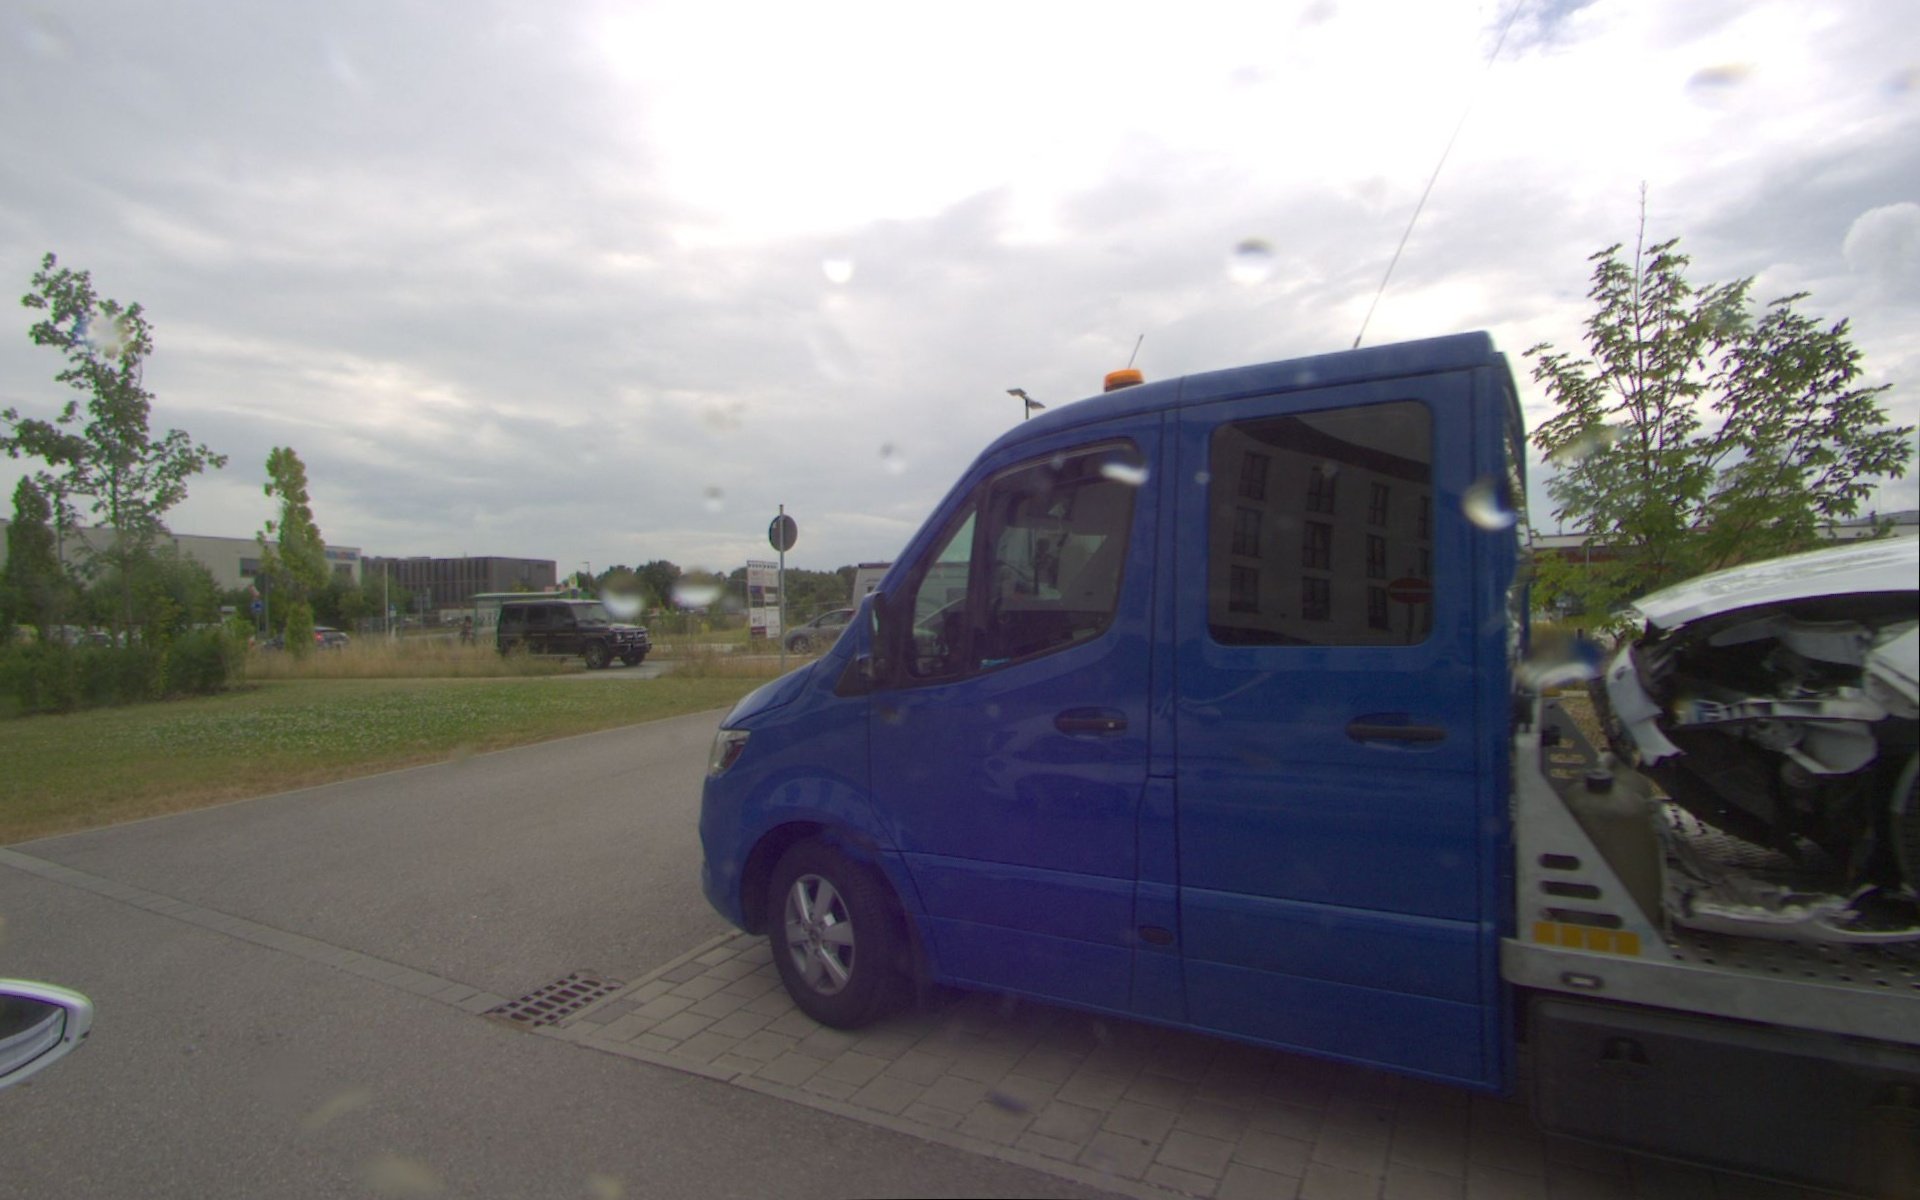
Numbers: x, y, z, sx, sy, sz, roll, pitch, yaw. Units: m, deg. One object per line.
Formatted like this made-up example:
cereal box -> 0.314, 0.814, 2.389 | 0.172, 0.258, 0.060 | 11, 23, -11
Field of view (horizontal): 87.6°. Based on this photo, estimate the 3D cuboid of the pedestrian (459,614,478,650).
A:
pedestrian -> -23.563, 1.531, 48.018 | 0.734, 1.744, 0.646 | 0, 0, -36

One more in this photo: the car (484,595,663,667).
car -> -11.213, 0.848, 29.085 | 4.764, 1.949, 1.995 | 0, 0, 21

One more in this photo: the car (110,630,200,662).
car -> -36.825, 2.066, 45.792 | 3.900, 1.360, 1.712 | 0, 0, 26

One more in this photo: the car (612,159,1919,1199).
car -> 2.403, 0.308, 2.989 | 7.746, 2.353, 2.189 | -1, 0, 33

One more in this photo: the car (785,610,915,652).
car -> -3.689, 1.003, 33.685 | 3.992, 1.360, 1.715 | 0, 0, 18

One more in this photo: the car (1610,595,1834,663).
car -> 17.905, 0.665, 23.795 | 3.993, 1.500, 1.751 | 0, -1, 29

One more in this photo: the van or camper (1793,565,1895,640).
van or camper -> 31.809, 0.114, 36.167 | 2.259, 2.525, 3.976 | 0, 0, 34

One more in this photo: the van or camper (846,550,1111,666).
van or camper -> 0.433, 0.178, 24.344 | 6.060, 2.575, 2.190 | 0, 0, 22

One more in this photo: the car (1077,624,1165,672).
car -> 5.762, 1.652, 35.487 | 1.770, 1.486, 4.302 | 0, 0, 29

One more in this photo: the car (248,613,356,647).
car -> -27.431, 1.234, 41.751 | 3.893, 1.360, 1.715 | 0, 0, 18

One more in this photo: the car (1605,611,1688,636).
car -> 43.278, 1.454, 63.222 | 3.933, 1.528, 1.995 | -1, 0, 23
